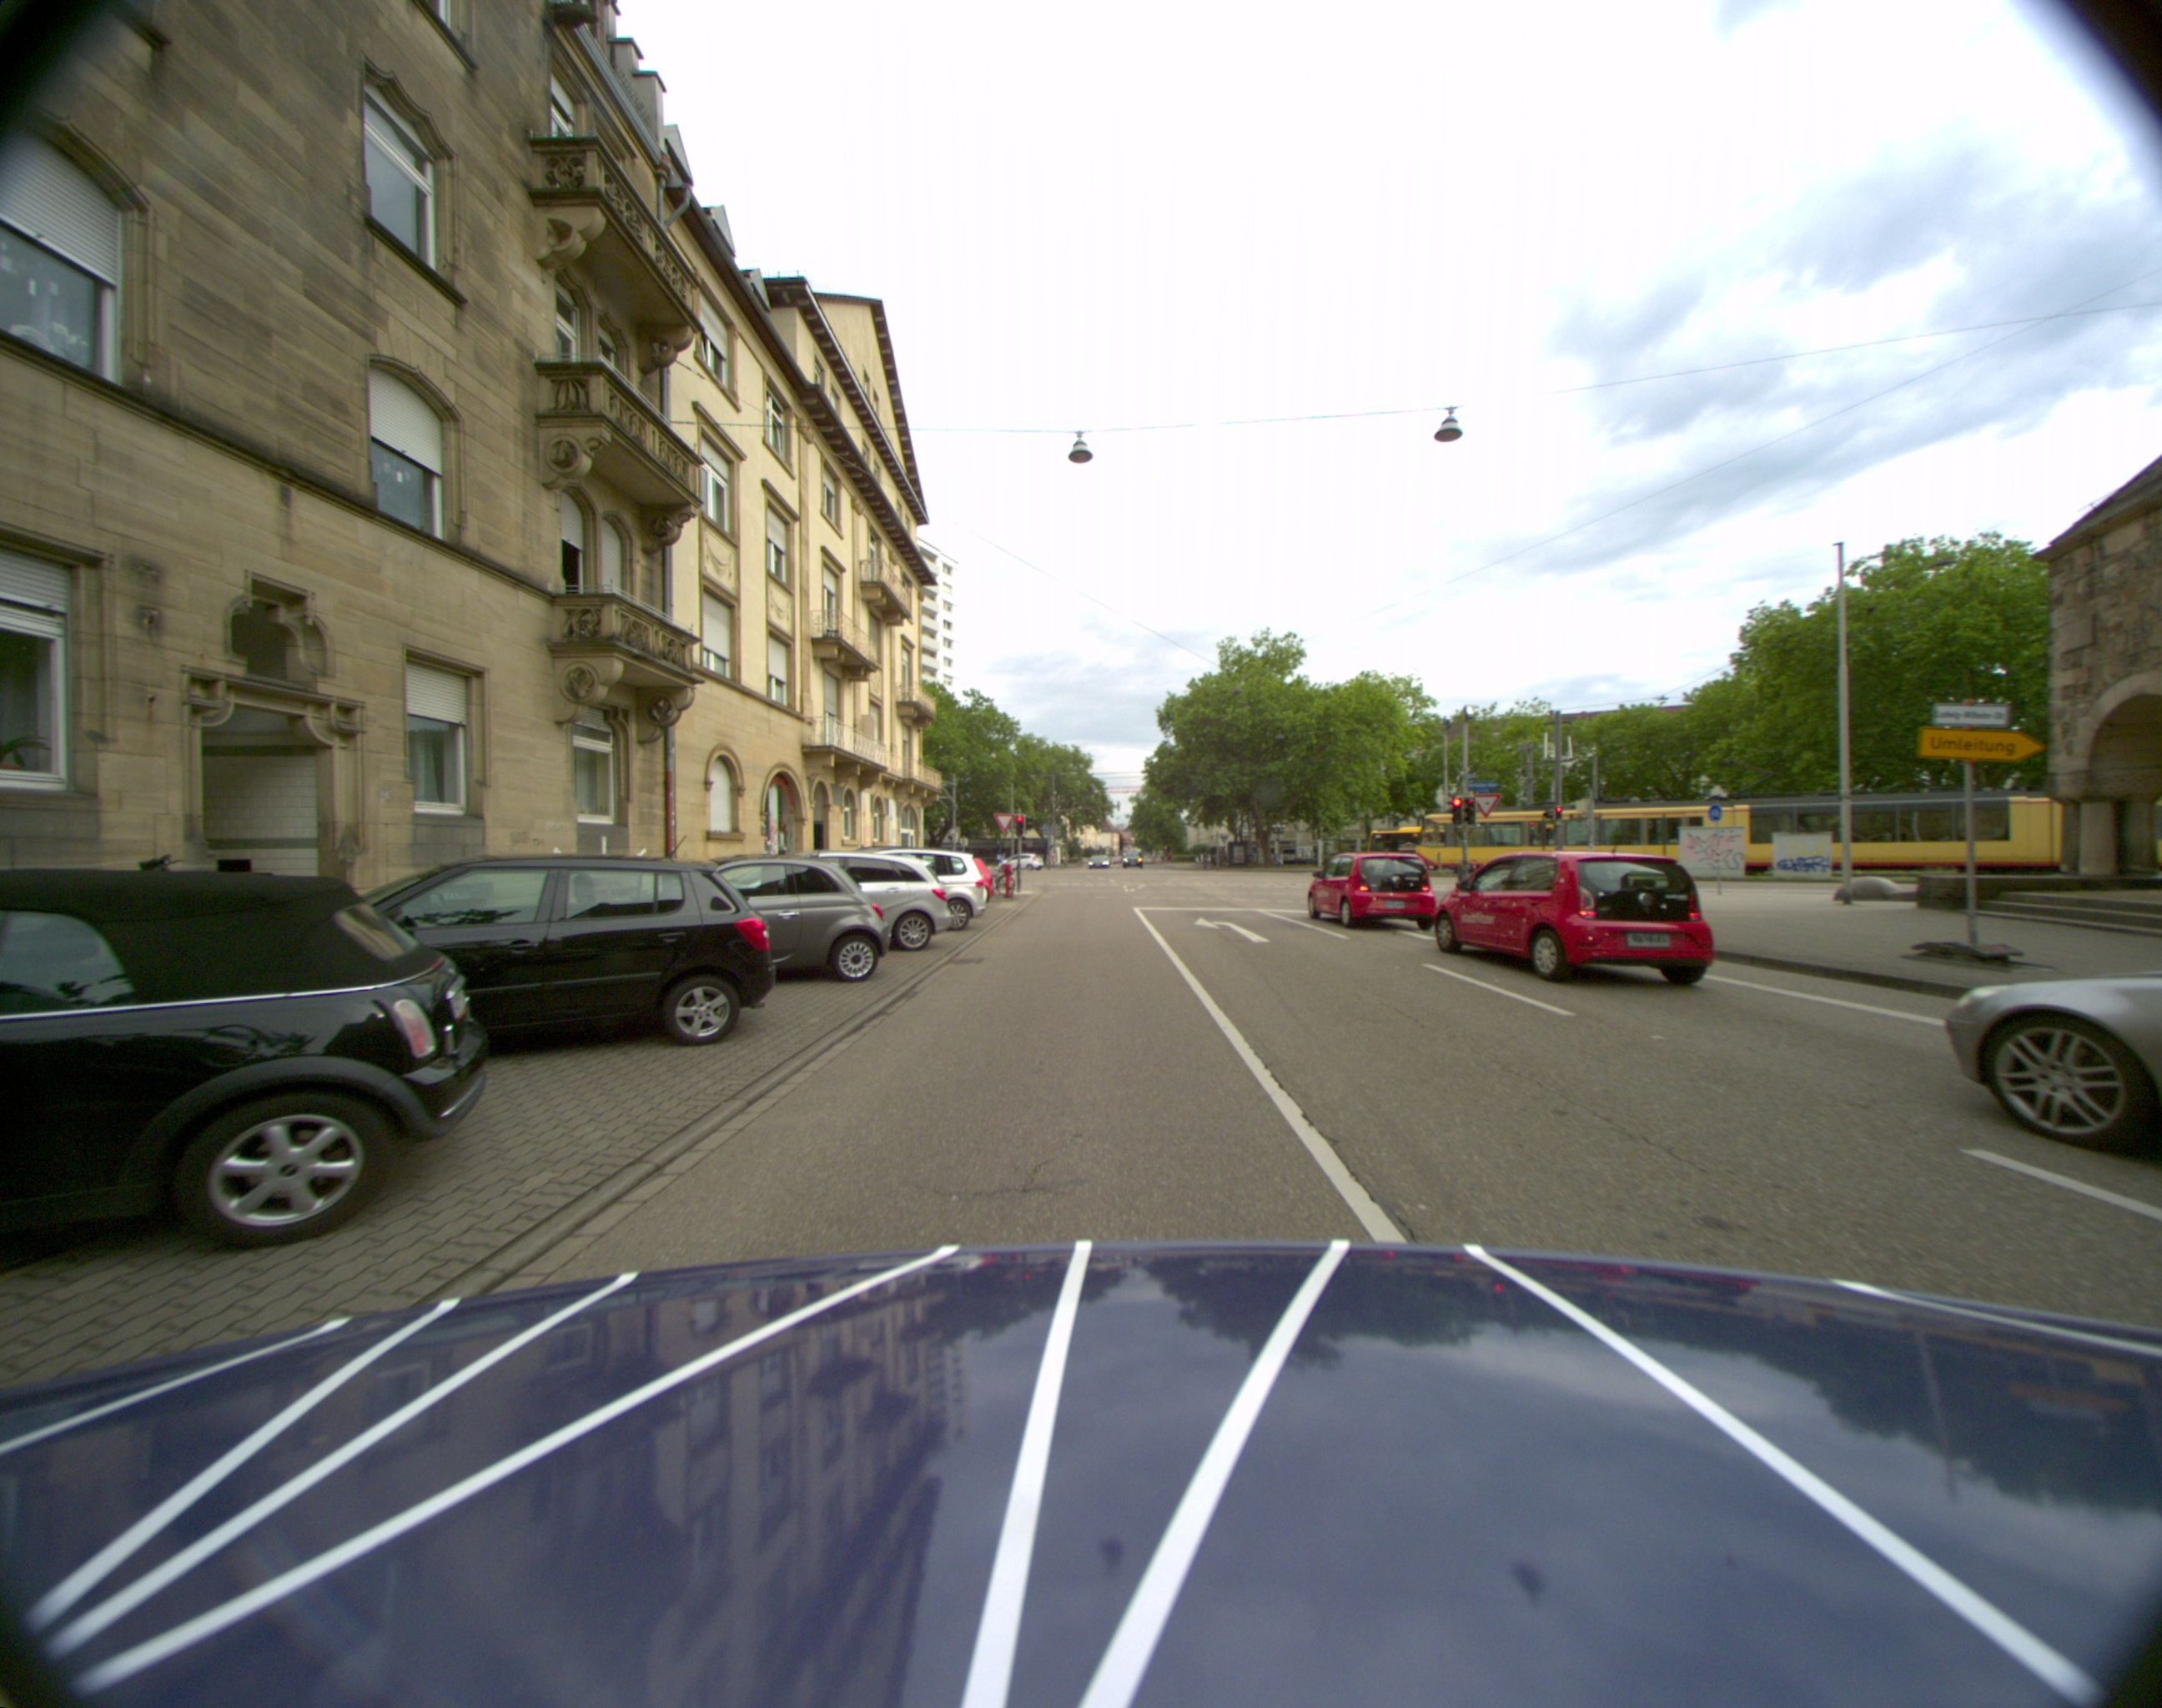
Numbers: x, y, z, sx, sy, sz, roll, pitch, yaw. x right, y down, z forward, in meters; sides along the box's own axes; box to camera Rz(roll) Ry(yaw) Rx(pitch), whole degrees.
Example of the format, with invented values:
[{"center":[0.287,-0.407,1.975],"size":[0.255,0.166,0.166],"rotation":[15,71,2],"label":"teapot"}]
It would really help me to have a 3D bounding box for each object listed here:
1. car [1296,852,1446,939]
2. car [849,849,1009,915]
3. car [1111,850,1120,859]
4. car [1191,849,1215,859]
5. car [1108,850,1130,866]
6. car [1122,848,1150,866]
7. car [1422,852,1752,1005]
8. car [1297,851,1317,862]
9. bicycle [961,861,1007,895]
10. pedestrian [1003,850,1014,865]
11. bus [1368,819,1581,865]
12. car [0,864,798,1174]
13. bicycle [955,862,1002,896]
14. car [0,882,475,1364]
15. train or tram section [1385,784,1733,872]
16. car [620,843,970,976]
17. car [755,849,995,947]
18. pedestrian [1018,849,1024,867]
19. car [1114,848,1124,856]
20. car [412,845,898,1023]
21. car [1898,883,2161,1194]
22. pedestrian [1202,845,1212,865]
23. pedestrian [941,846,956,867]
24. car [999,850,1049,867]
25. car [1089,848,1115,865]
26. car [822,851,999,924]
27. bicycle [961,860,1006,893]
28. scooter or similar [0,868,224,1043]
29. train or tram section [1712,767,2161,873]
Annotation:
[{"center":[5.741,0.750,15.536],"size":[1.653,1.519,3.894],"rotation":[1,0,2],"label":"car"},{"center":[-4.080,0.749,20.745],"size":[3.843,1.552,1.789],"rotation":[3,1,-45],"label":"car"},{"center":[7.915,0.125,174.305],"size":[1.998,2.002,4.000],"rotation":[-1,2,3],"label":"car"},{"center":[18.976,-0.067,117.916],"size":[1.804,1.477,3.992],"rotation":[-1,1,-24],"label":"car"},{"center":[4.467,0.501,88.285],"size":[1.660,1.708,3.745],"rotation":[-1,-2,16],"label":"car"},{"center":[5.685,0.357,78.556],"size":[1.908,1.708,3.746],"rotation":[-1,-2,20],"label":"car"},{"center":[5.887,0.738,9.448],"size":[1.606,1.448,3.717],"rotation":[1,1,1],"label":"car"},{"center":[29.735,0.296,100.205],"size":[1.997,1.381,4.836],"rotation":[-1,0,10],"label":"car"},{"center":[-3.497,0.854,27.385],"size":[1.571,1.121,0.476],"rotation":[2,2,1],"label":"bicycle"},{"center":[-7.169,0.346,74.908],"size":[0.852,1.500,0.555],"rotation":[-1,2,20],"label":"pedestrian"},{"center":[26.031,-0.765,51.019],"size":[12.347,2.840,3.297],"rotation":[0,2,27],"label":"bus"},{"center":[-4.693,0.871,5.692],"size":[4.474,1.543,1.847],"rotation":[0,1,-37],"label":"car"},{"center":[-3.608,0.884,26.872],"size":[1.571,1.121,0.476],"rotation":[2,2,1],"label":"bicycle"},{"center":[-4.847,0.876,2.726],"size":[4.080,1.445,2.026],"rotation":[3,0,-37],"label":"car"},{"center":[24.350,-1.191,40.262],"size":[14.999,4.070,3.660],"rotation":[0,2,27],"label":"train or tram section"},{"center":[-4.351,0.746,11.879],"size":[4.761,1.675,1.931],"rotation":[1,1,-35],"label":"car"},{"center":[-4.070,0.787,15.176],"size":[4.232,1.673,1.911],"rotation":[0,1,-33],"label":"car"},{"center":[-5.639,0.381,71.220],"size":[0.524,1.603,0.526],"rotation":[-1,2,-6],"label":"pedestrian"},{"center":[11.182,-0.620,221.323],"size":[1.996,2.002,4.004],"rotation":[-1,2,17],"label":"car"},{"center":[-4.579,0.765,8.703],"size":[4.475,1.564,1.742],"rotation":[2,-1,-37],"label":"car"},{"center":[5.483,0.856,2.310],"size":[1.708,1.279,4.042],"rotation":[1,1,3],"label":"car"},{"center":[12.229,0.091,73.610],"size":[0.690,1.876,0.687],"rotation":[-3,2,-33],"label":"pedestrian"},{"center":[-10.832,0.216,62.279],"size":[0.876,1.686,0.744],"rotation":[0,2,27],"label":"pedestrian"},{"center":[-4.906,0.417,65.142],"size":[3.880,1.390,1.710],"rotation":[0,2,27],"label":"car"},{"center":[2.236,0.306,79.436],"size":[1.660,1.708,3.746],"rotation":[-1,-2,20],"label":"car"},{"center":[-3.977,0.768,17.969],"size":[3.596,1.500,1.843],"rotation":[2,1,-40],"label":"car"},{"center":[-3.577,0.820,27.886],"size":[1.571,1.121,0.476],"rotation":[2,2,1],"label":"bicycle"},{"center":[-7.856,0.754,6.137],"size":[0.434,1.181,1.218],"rotation":[5,2,2],"label":"scooter or similar"},{"center":[37.681,-1.334,33.280],"size":[14.999,4.070,3.587],"rotation":[0,2,27],"label":"train or tram section"}]
